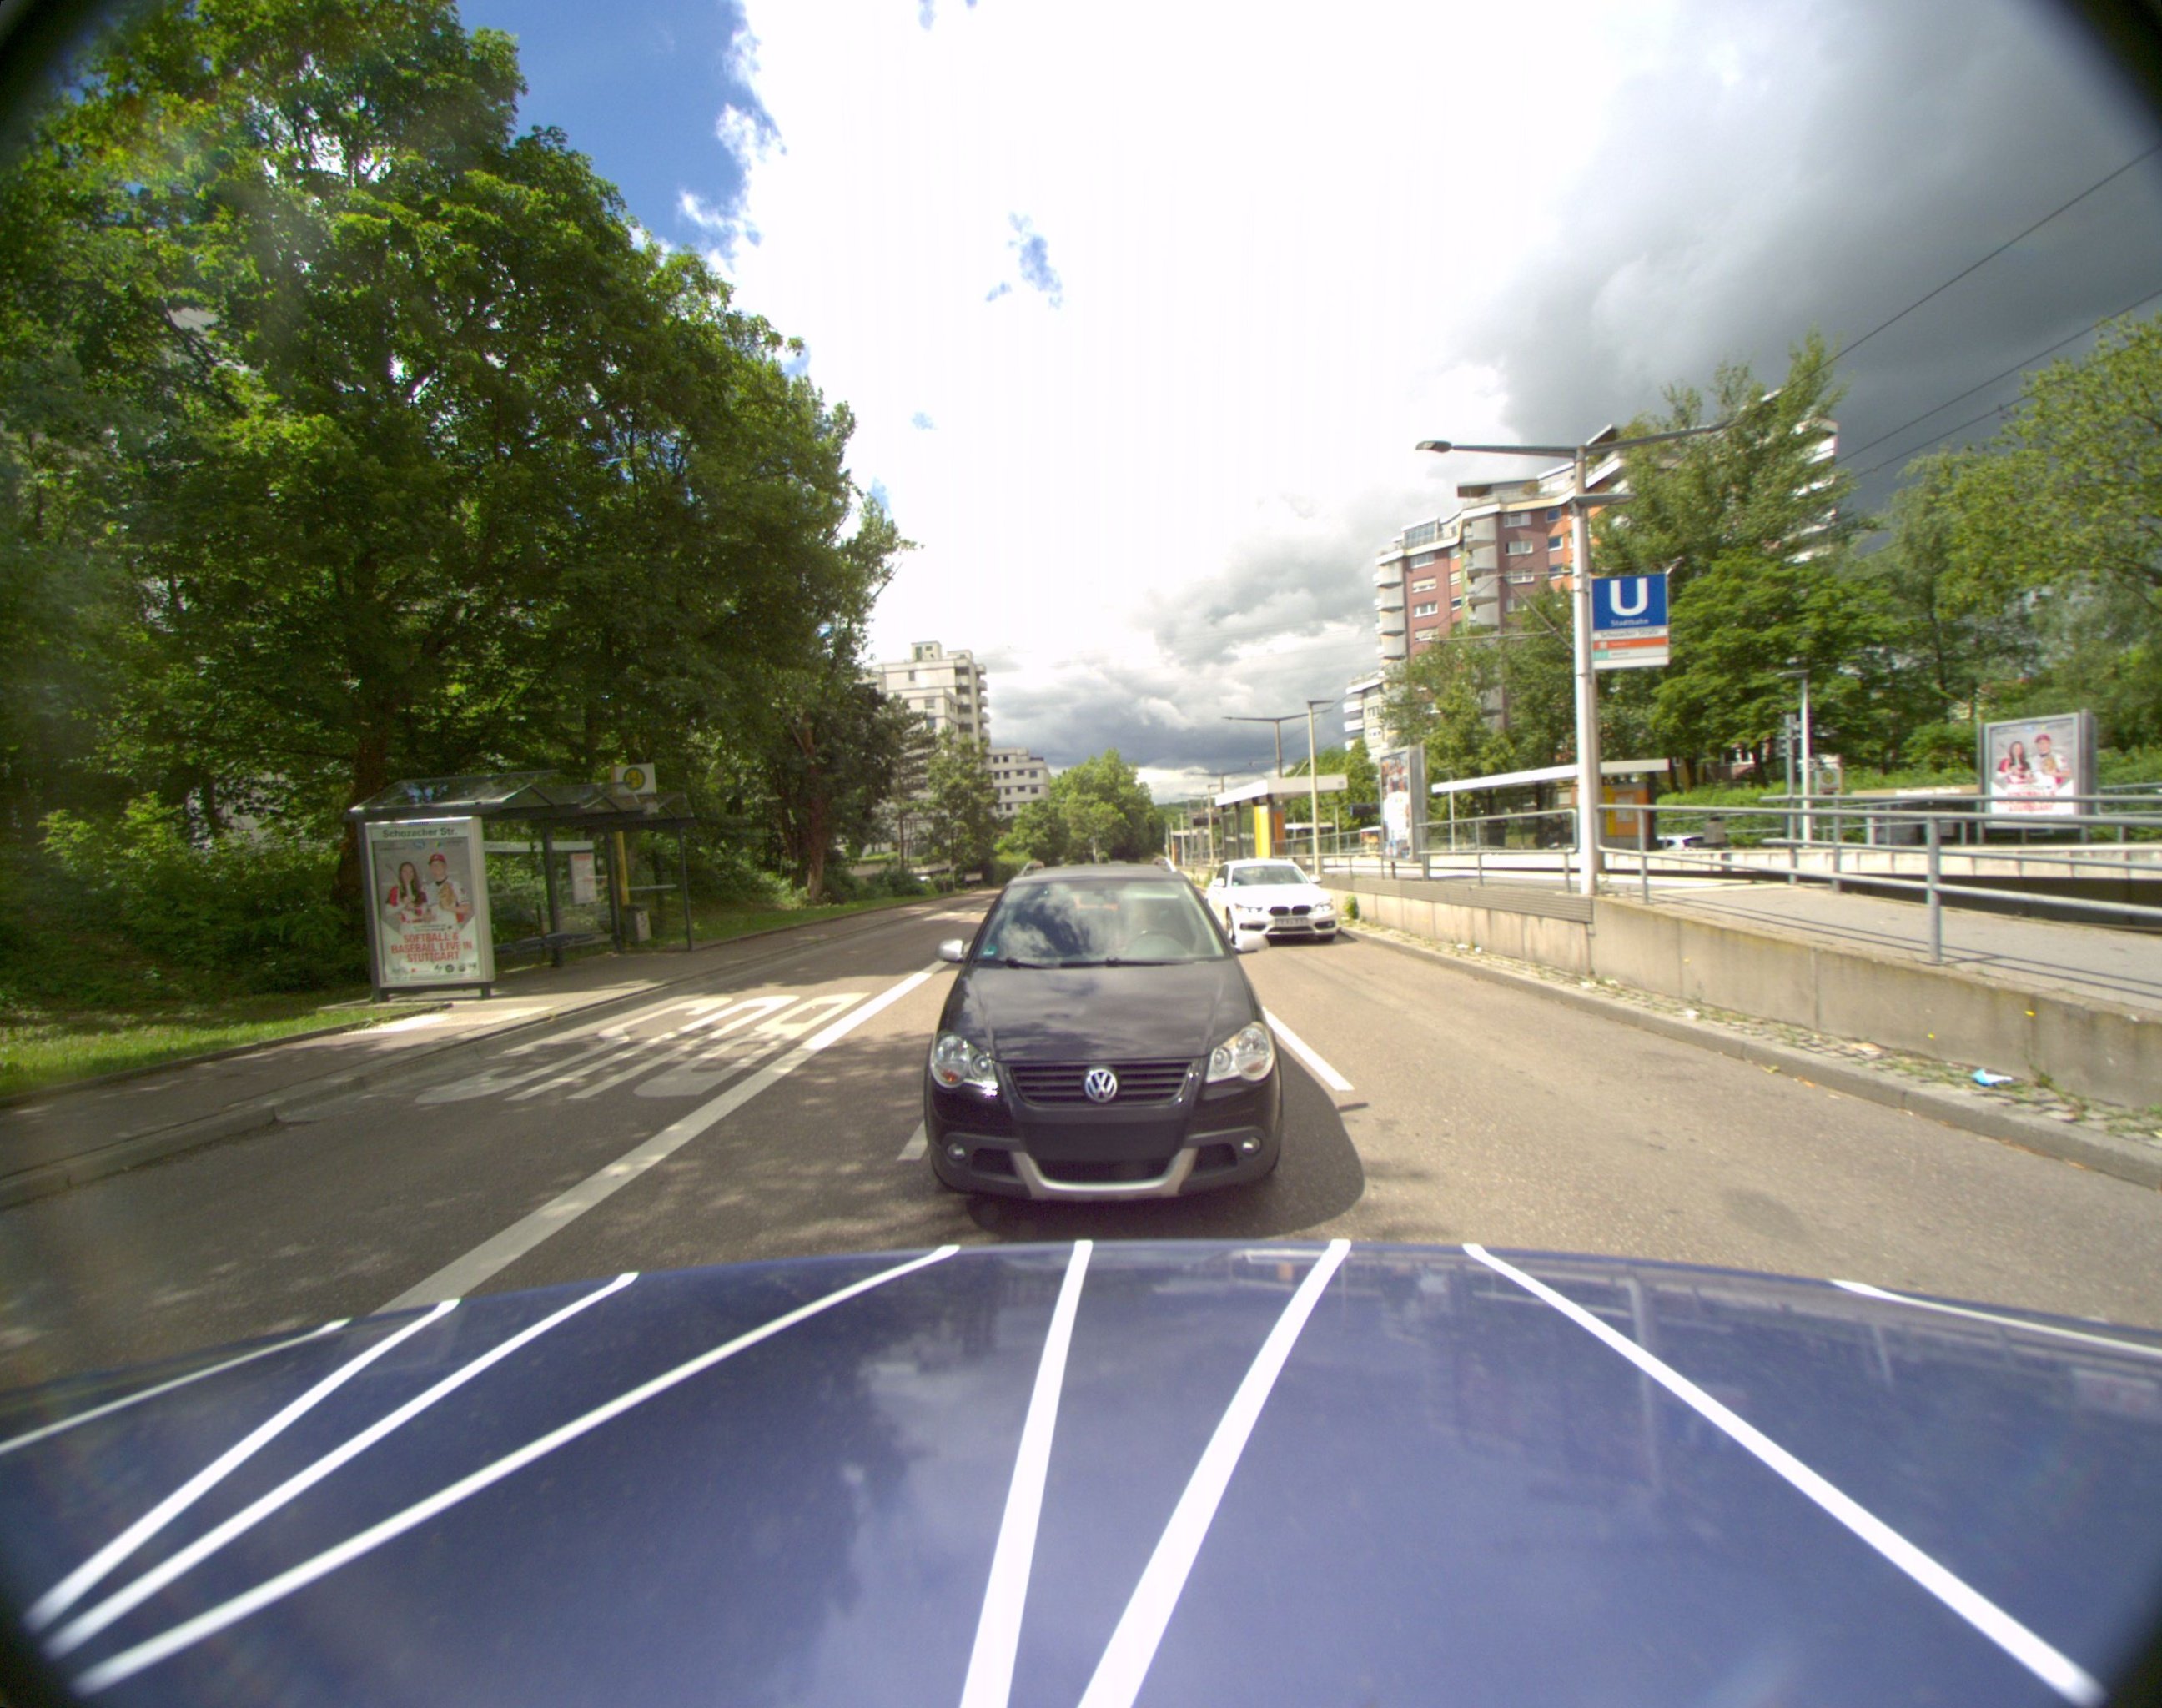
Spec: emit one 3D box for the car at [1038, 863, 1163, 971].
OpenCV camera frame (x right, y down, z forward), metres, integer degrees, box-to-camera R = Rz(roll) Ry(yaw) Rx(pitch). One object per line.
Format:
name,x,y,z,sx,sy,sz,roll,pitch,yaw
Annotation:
car,0.320,0.933,12.932,1.732,1.453,4.000,-2,0,1

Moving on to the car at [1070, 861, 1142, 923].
car,0.742,0.972,21.041,1.732,1.452,4.001,-2,0,3

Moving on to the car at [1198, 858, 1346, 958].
car,3.309,0.866,13.968,1.732,1.453,4.000,-2,1,1

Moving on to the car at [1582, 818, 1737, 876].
car,19.727,-0.219,26.194,1.998,1.791,4.510,-1,0,2

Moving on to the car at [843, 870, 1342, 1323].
car,0.079,0.921,4.734,1.732,1.501,4.000,-2,0,1

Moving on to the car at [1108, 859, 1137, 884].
car,2.733,1.149,50.811,1.732,1.505,4.000,-2,1,1

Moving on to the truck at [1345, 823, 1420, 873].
truck,21.198,-0.378,53.870,2.420,3.203,7.263,-2,0,1
